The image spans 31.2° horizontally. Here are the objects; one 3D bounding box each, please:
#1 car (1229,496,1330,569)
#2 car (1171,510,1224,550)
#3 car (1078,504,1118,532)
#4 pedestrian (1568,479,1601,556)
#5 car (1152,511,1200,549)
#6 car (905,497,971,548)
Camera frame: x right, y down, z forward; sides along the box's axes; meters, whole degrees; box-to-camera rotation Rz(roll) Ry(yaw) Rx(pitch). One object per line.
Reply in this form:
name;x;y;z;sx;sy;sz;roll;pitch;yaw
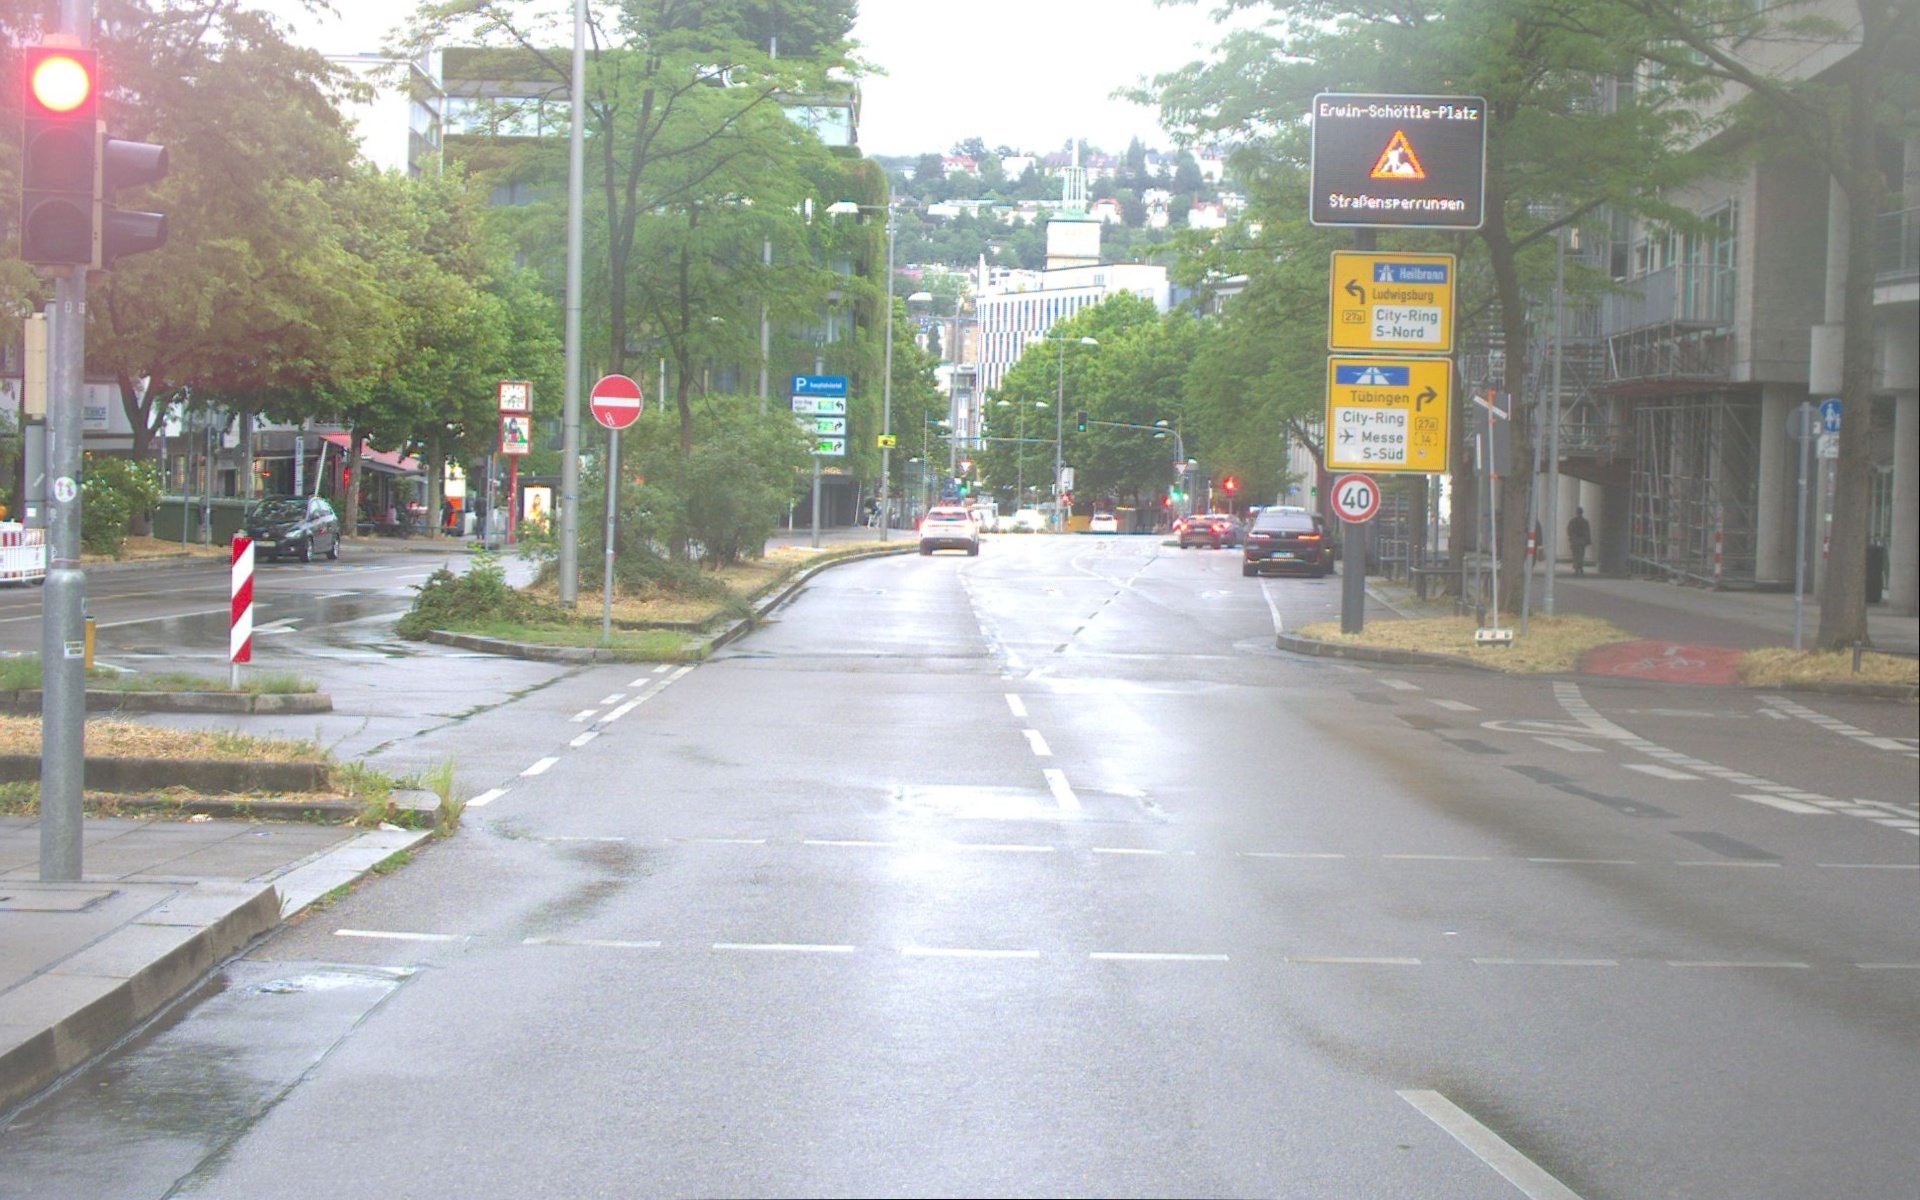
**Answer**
car;7.776;-1.644;83.413;2.339;1.685;3.999;1;2;6
car;10.736;-3.164;155.593;1.993;1.718;4.000;1;0;-1
car;9.167;-5.468;228.709;1.993;1.752;4.001;2;1;-6
pedestrian;15.879;-2.093;87.411;0.775;1.914;0.702;1;0;10
car;10.476;-3.388;166.789;1.993;1.730;4.000;1;0;-1
car;-0.761;-2.597;115.368;1.828;1.634;4.301;2;1;-5
